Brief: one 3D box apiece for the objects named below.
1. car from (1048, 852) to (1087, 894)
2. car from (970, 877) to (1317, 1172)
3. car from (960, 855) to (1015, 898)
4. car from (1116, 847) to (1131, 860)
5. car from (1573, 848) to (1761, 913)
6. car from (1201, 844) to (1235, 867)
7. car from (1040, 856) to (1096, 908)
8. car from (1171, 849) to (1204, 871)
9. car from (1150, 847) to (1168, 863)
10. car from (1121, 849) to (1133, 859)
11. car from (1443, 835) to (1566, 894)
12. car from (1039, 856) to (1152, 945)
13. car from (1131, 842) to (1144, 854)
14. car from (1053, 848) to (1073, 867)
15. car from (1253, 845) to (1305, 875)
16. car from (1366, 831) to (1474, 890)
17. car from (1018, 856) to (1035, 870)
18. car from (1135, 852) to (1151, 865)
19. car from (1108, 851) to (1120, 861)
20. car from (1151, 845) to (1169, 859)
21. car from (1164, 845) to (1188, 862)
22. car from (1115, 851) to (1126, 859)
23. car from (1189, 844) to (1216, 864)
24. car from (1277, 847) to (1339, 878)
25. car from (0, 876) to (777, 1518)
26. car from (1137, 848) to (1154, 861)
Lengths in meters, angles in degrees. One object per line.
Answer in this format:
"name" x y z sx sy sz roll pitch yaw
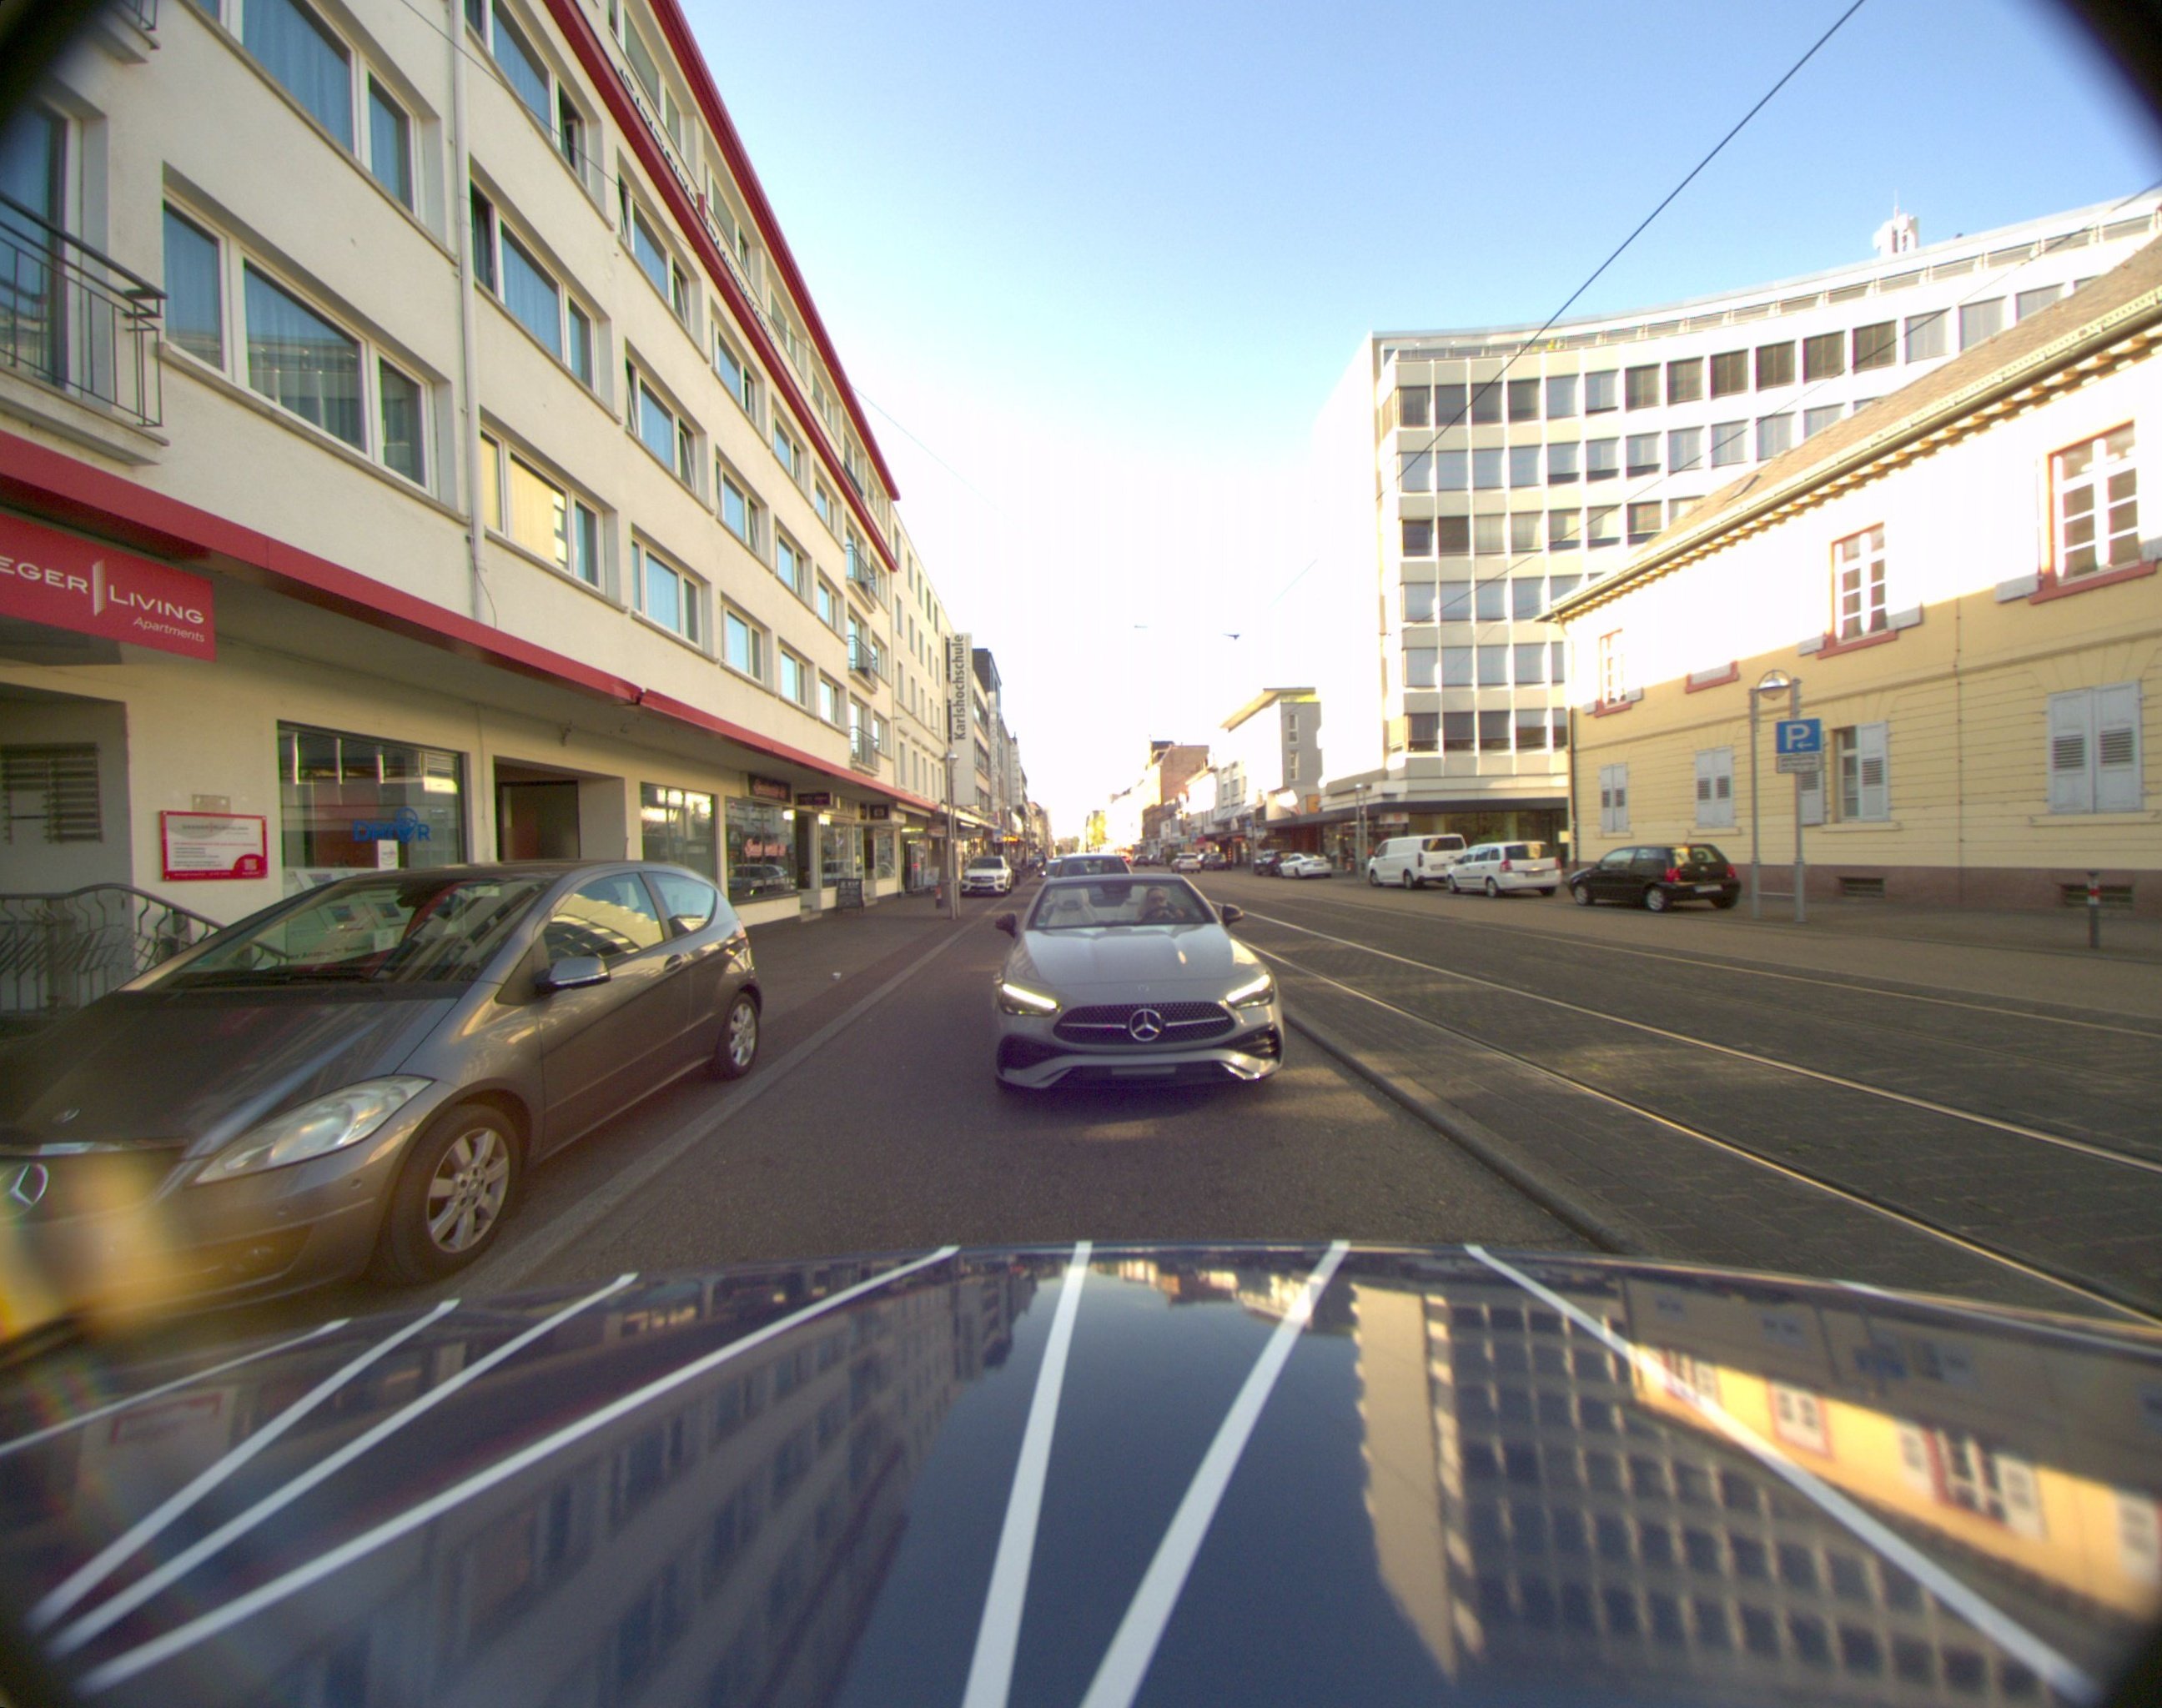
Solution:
"car" -0.611 0.786 33.959 1.573 1.670 3.688 -2 1 -1
"car" 0.216 0.991 6.183 1.884 1.375 3.998 -2 1 -4
"car" -3.845 0.886 31.715 1.999 1.620 3.998 -1 0 -4
"car" 6.747 -0.077 121.783 1.914 1.883 3.855 -2 1 -2
"car" 12.964 0.523 17.061 1.688 1.246 3.212 -2 1 -1
"car" 11.735 0.103 65.520 1.999 1.849 3.998 -2 1 -2
"car" -0.440 0.867 25.015 1.648 1.506 3.844 -2 0 -2
"car" 8.183 0.422 58.767 1.760 1.587 3.999 -1 0 -2
"car" 10.337 0.137 100.858 1.998 2.002 4.000 -1 0 1
"car" 9.551 -0.078 157.281 1.999 2.002 3.999 -1 0 -2
"car" 12.753 0.268 23.160 1.641 1.600 4.005 -2 1 3
"car" 0.162 0.842 15.845 1.927 1.533 3.998 -2 0 -4
"car" 10.012 -1.048 134.359 1.998 2.002 4.000 -1 0 0
"car" -1.910 0.337 79.568 1.999 1.793 3.999 -2 1 -1
"car" 12.331 0.360 47.680 1.999 1.694 4.107 -3 1 -2
"car" 12.683 0.230 28.784 2.040 2.002 4.621 -1 0 1
"car" -6.153 0.986 86.054 1.714 1.430 3.756 -2 1 -1
"car" 7.839 0.607 96.087 1.964 1.499 4.000 -2 1 4
"car" 6.591 0.401 150.669 1.999 2.002 3.998 -2 1 -2
"car" 11.518 -0.321 111.546 1.999 2.002 3.998 -2 1 -2
"car" 11.330 -0.064 90.502 2.200 2.030 3.999 -1 0 -1
"car" 9.154 0.251 176.511 2.148 1.850 3.998 -2 1 -2
"car" 11.800 0.002 74.109 1.789 1.870 3.999 -1 0 -2
"car" 12.552 0.422 42.239 1.999 1.521 4.373 -2 1 -1
"car" -3.217 0.970 3.951 1.683 1.537 3.999 -2 0 -1
"car" 10.300 0.009 121.801 1.999 2.002 5.320 -1 0 -2
